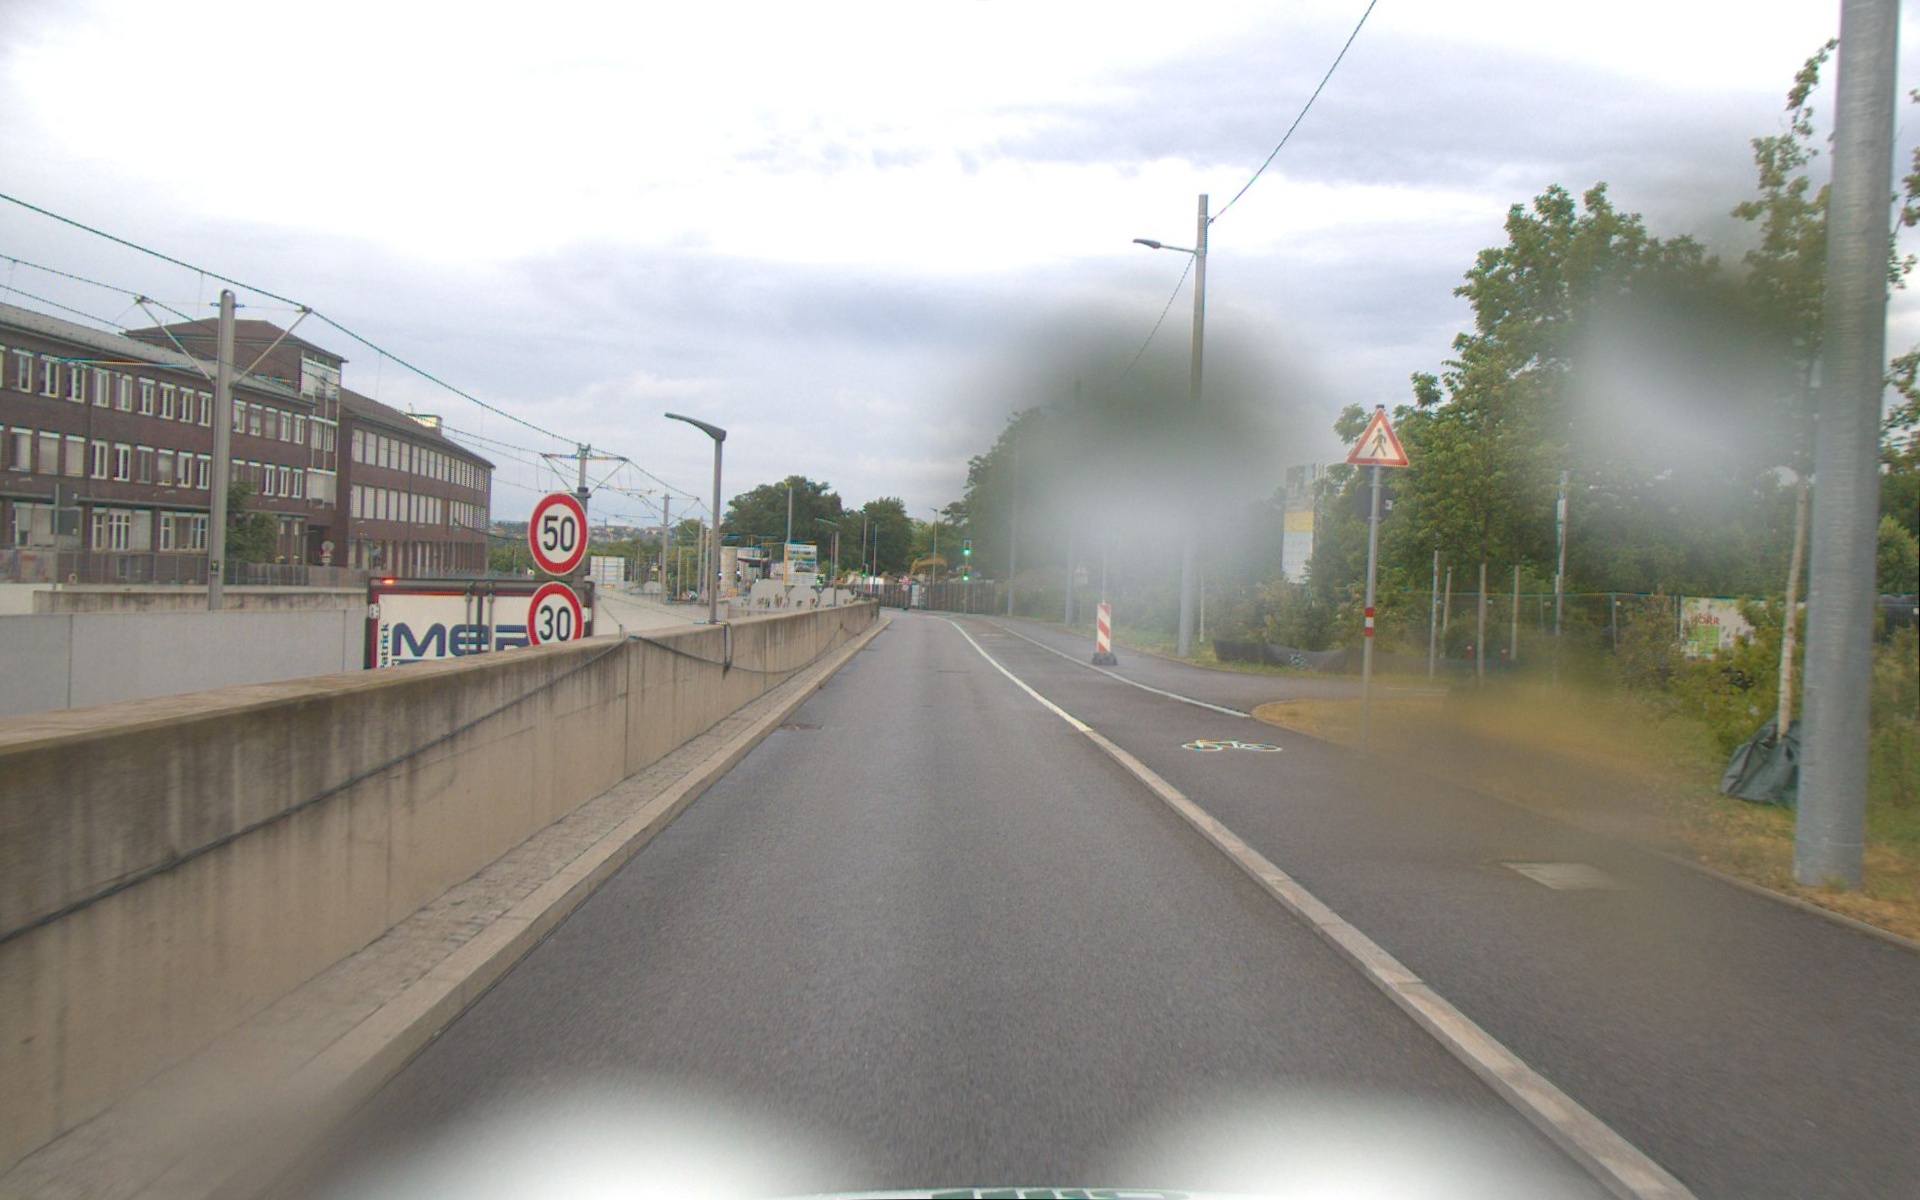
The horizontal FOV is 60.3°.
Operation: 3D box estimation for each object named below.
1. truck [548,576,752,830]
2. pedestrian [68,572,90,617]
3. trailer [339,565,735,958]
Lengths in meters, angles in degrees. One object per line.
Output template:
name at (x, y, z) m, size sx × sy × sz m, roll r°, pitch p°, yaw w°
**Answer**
truck at (-5.648, 1.731, 31.177) m, size 2.700 × 4.278 × 6.305 m, roll 0°, pitch 0°, yaw -1°
pedestrian at (-40.463, -0.257, 75.958) m, size 0.657 × 2.049 × 0.652 m, roll 1°, pitch -1°, yaw -4°
trailer at (-5.570, 1.752, 24.869) m, size 2.706 × 4.327 × 13.181 m, roll 0°, pitch 0°, yaw -1°
